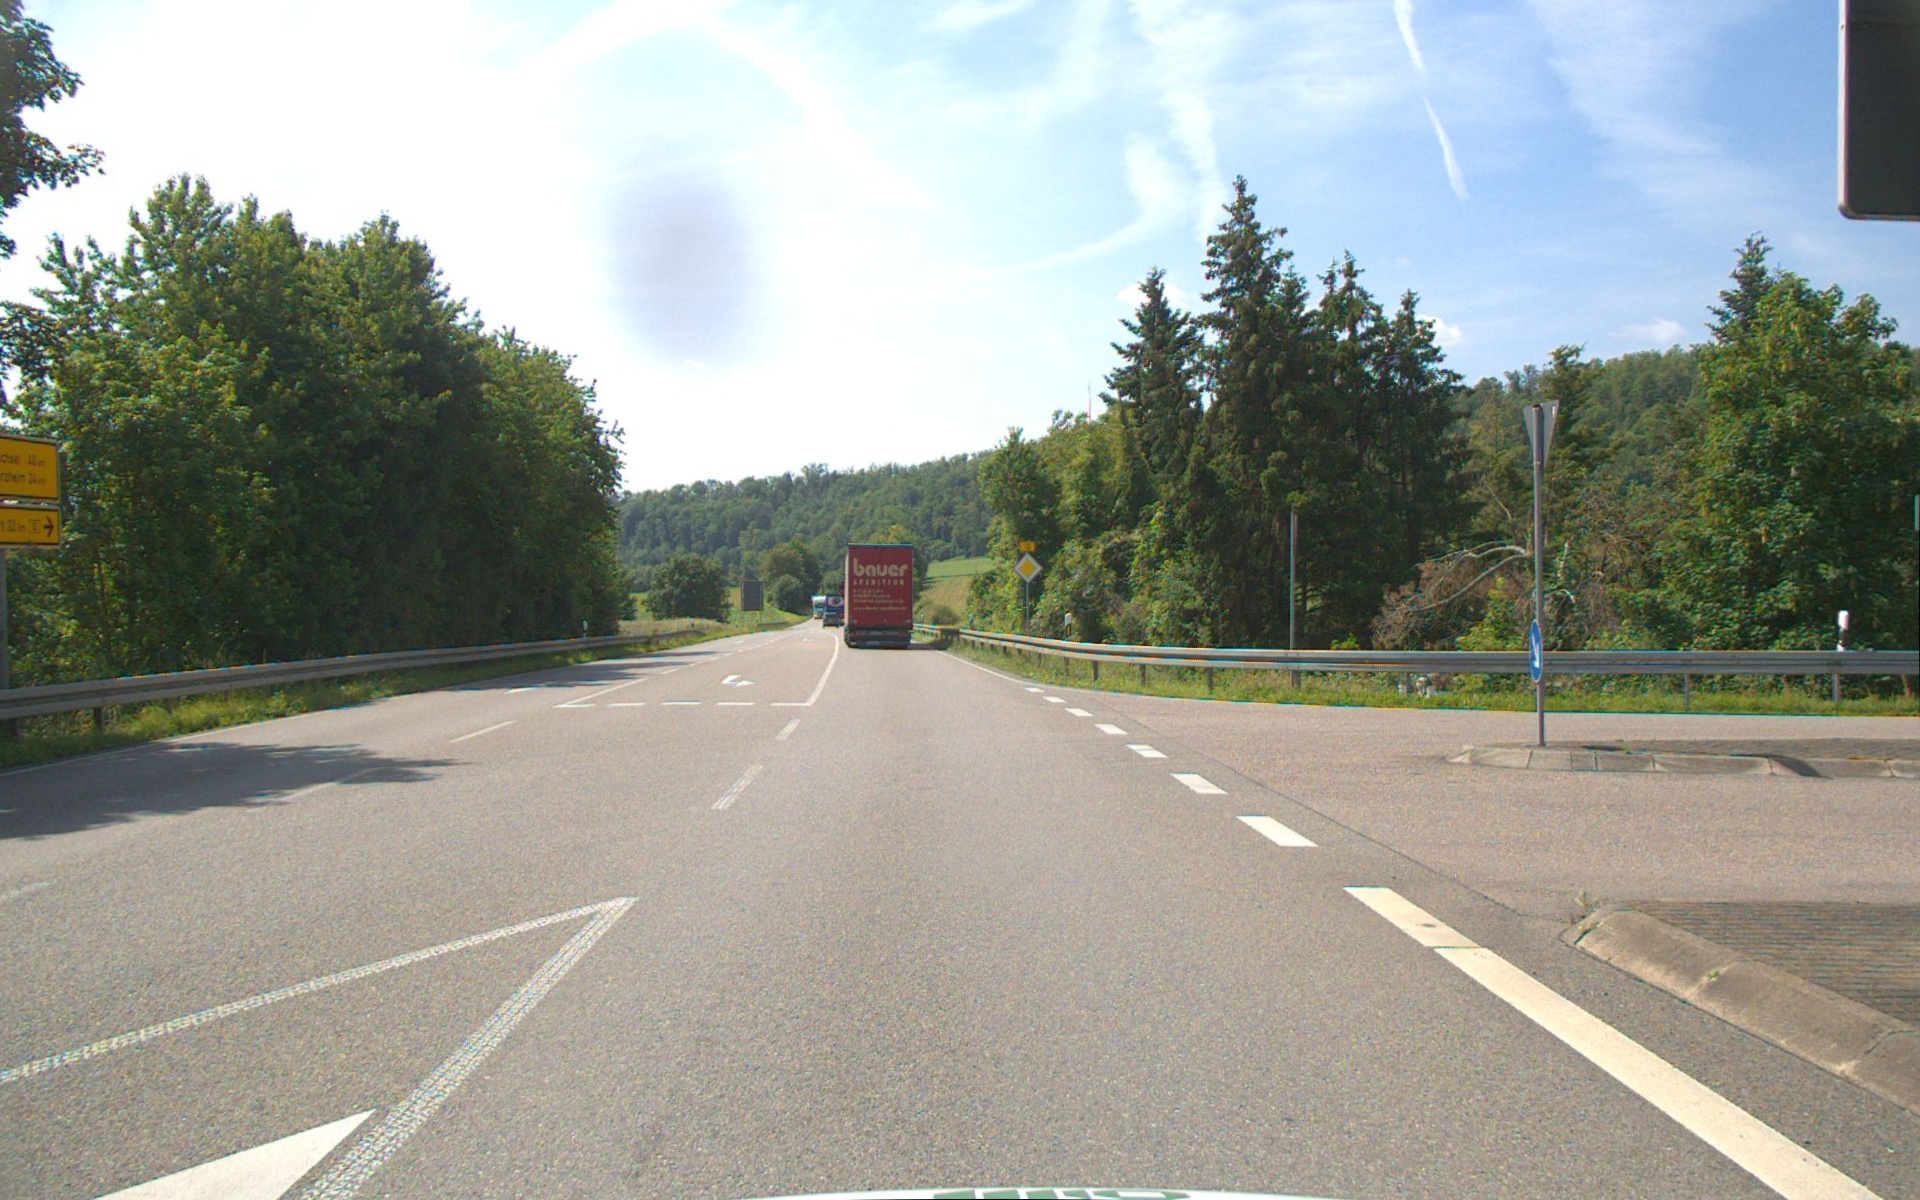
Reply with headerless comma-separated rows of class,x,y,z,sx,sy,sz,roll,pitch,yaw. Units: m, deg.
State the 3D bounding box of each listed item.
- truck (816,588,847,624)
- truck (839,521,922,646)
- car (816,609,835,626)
truck,-16.761,0.884,215.505,3.829,4.446,13.278,2,-1,-5
truck,-3.496,-0.605,69.577,3.110,4.706,13.532,0,0,-4
car,-14.987,1.974,184.312,1.955,1.842,3.995,3,-1,-5
